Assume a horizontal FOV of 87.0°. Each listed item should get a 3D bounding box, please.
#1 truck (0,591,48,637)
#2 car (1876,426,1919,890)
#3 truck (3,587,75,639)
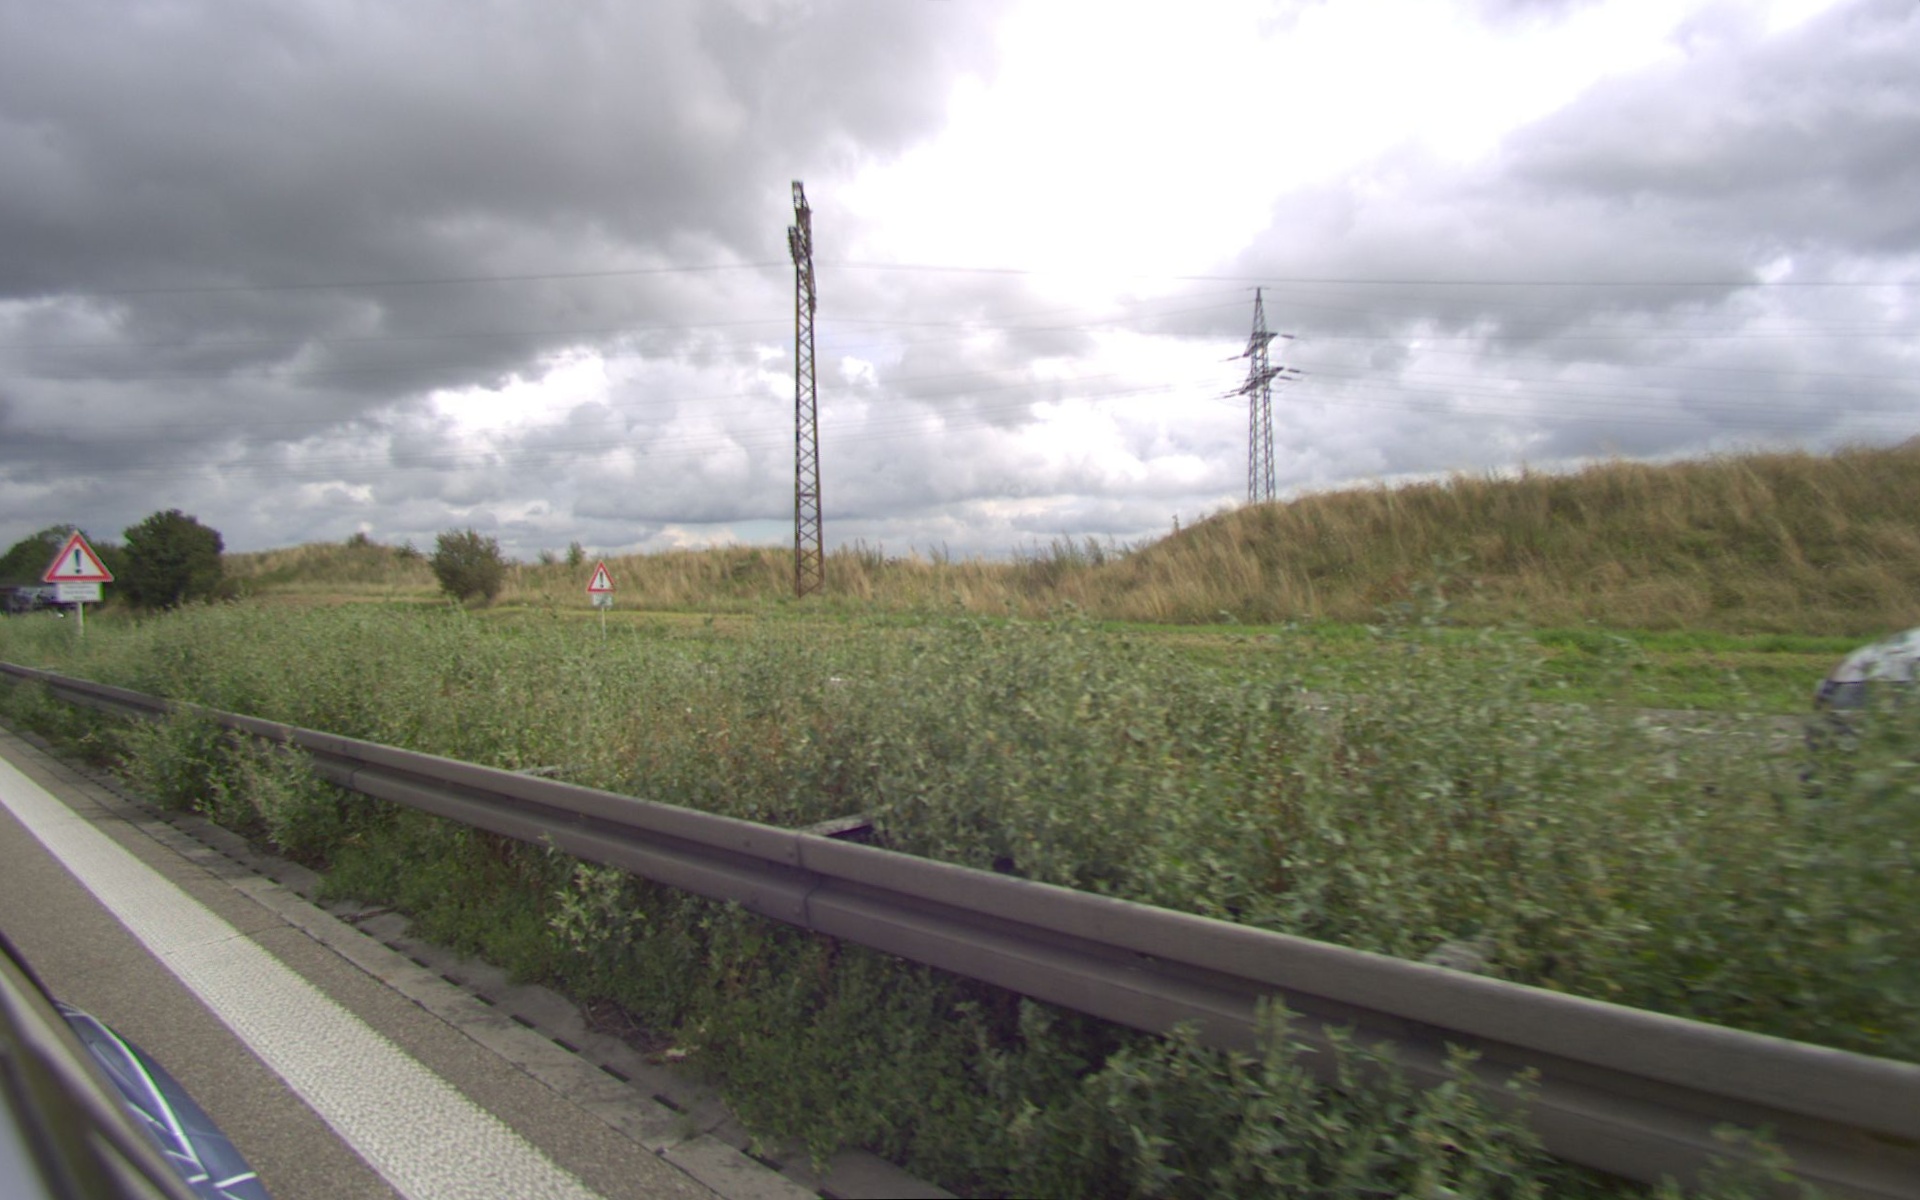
[{"bbox_3d":[-83.359,1.237,89.991,5.985,3.966,2.694,-1,-1,42],"label":"truck"},{"bbox_3d":[6.855,0.214,3.395,5.529,2.029,1.973,-1,0,41],"label":"car"},{"bbox_3d":[-76.008,1.127,83.371,17.397,3.966,2.694,-1,-1,42],"label":"truck"}]
